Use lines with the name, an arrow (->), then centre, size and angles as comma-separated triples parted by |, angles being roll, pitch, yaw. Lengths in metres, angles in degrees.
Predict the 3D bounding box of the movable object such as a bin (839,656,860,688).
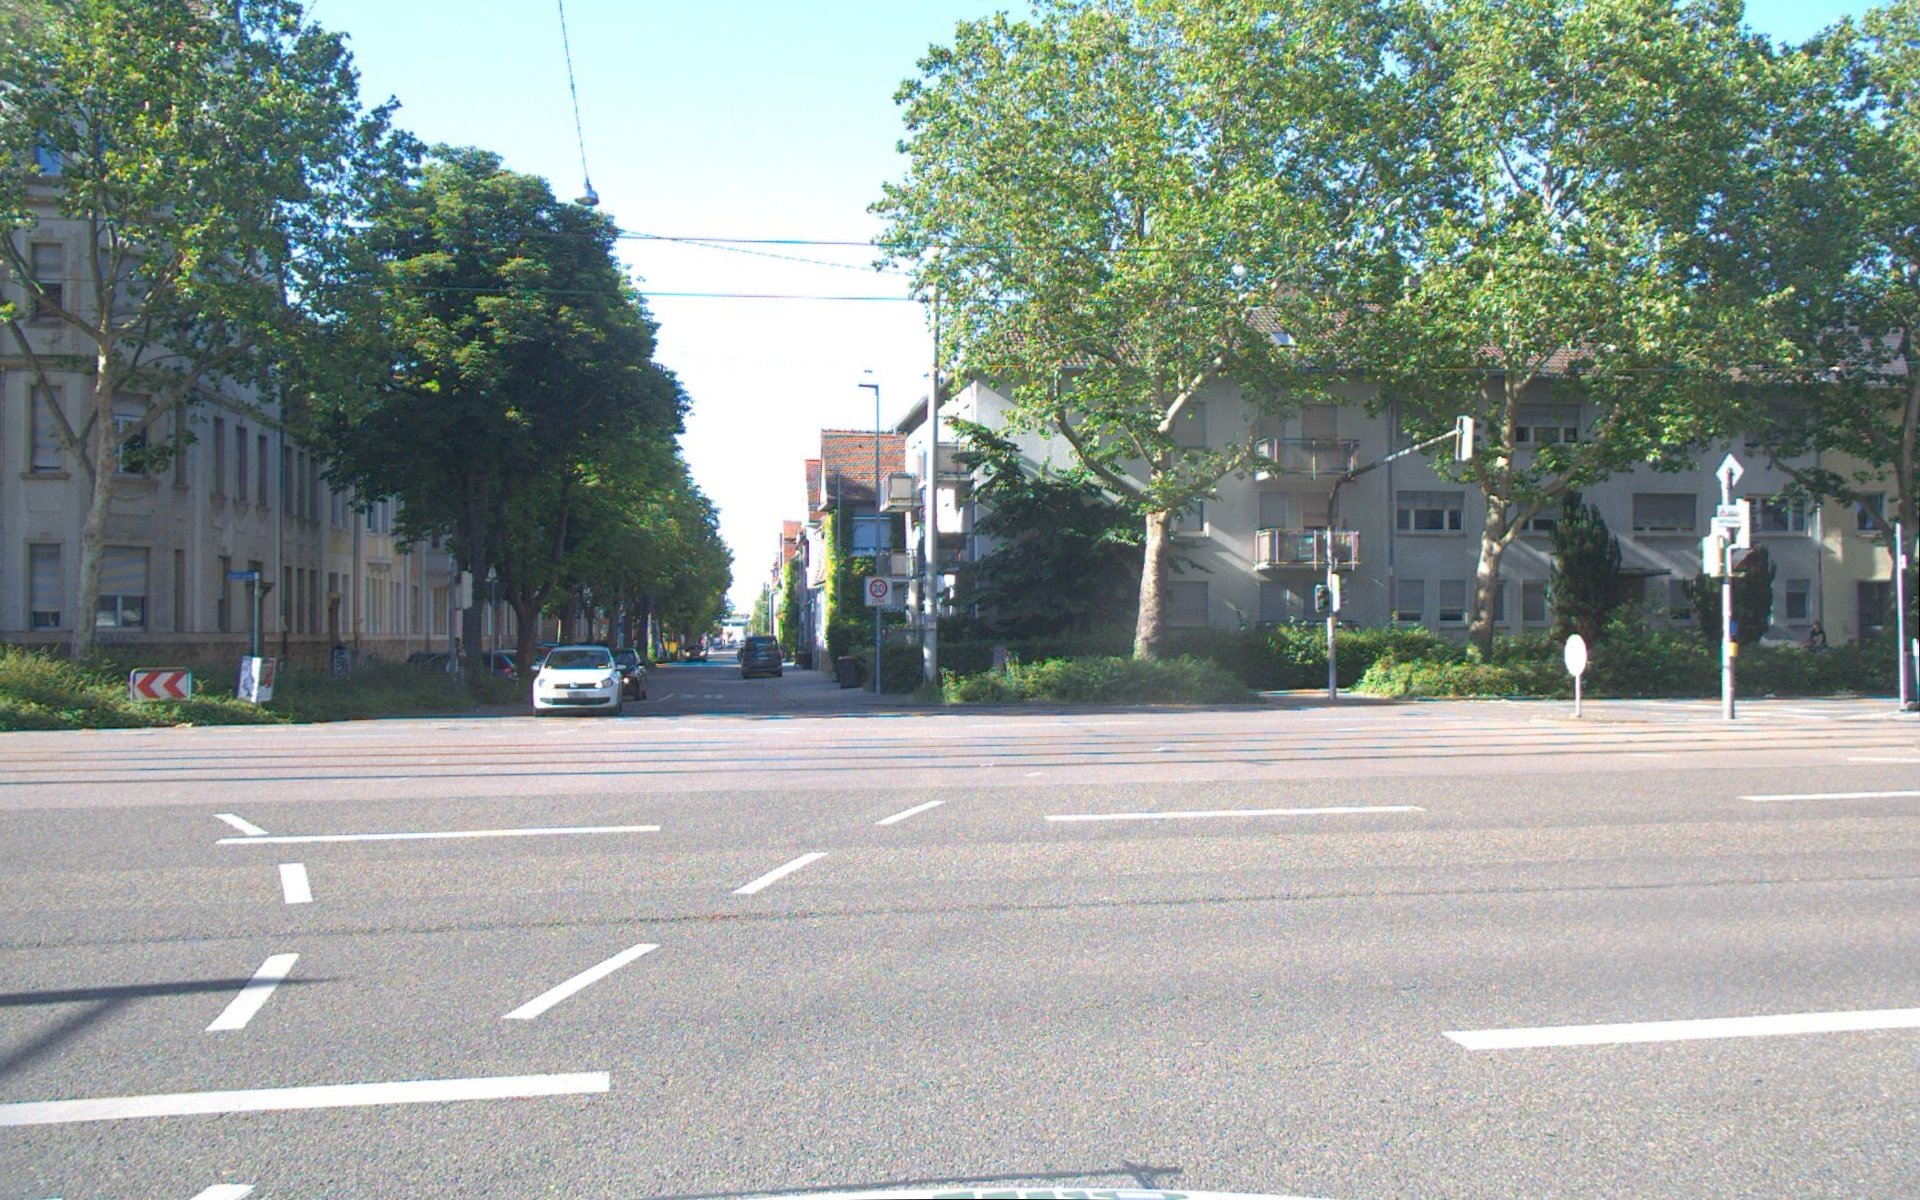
movable object such as a bin -> -3.829, 2.483, 57.204 | 0.586, 1.062, 0.705 | -4, -1, -10

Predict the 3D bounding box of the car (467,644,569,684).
car -> -18.619, 2.697, 69.752 | 3.911, 1.534, 1.719 | -1, -2, -7

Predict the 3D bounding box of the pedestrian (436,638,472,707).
pedestrian -> -12.743, 1.827, 41.683 | 0.679, 1.711, 0.680 | -1, -2, 3

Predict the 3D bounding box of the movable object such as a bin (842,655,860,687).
movable object such as a bin -> -3.823, 2.494, 58.020 | 0.475, 1.062, 0.655 | -4, -1, -10

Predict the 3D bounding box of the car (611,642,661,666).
car -> -26.263, 4.377, 134.018 | 3.916, 1.792, 1.792 | 2, -3, -12

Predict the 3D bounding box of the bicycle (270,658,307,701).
bicycle -> -20.004, 2.355, 49.301 | 0.504, 1.174, 1.979 | 2, -1, -7

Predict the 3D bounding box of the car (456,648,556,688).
car -> -17.043, 2.563, 62.215 | 3.367, 1.478, 1.701 | 0, -3, -6

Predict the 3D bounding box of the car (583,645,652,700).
car -> -9.758, 2.052, 47.324 | 1.629, 1.490, 3.802 | 0, -2, -7

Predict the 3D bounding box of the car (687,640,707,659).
car -> -22.262, 4.151, 140.174 | 1.610, 1.535, 3.695 | -2, -1, -8

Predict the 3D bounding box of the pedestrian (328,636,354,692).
pedestrian -> -19.012, 1.955, 50.771 | 0.450, 1.687, 0.894 | -1, -2, 0

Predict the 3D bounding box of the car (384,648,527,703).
car -> -14.900, 2.226, 48.965 | 3.810, 1.502, 1.612 | -1, -2, -9

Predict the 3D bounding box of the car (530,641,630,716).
car -> -8.091, 1.679, 35.490 | 1.772, 1.484, 3.991 | 0, -3, -9

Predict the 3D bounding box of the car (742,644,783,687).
car -> -9.597, 3.165, 80.135 | 1.830, 1.950, 4.774 | 2, -2, -7
